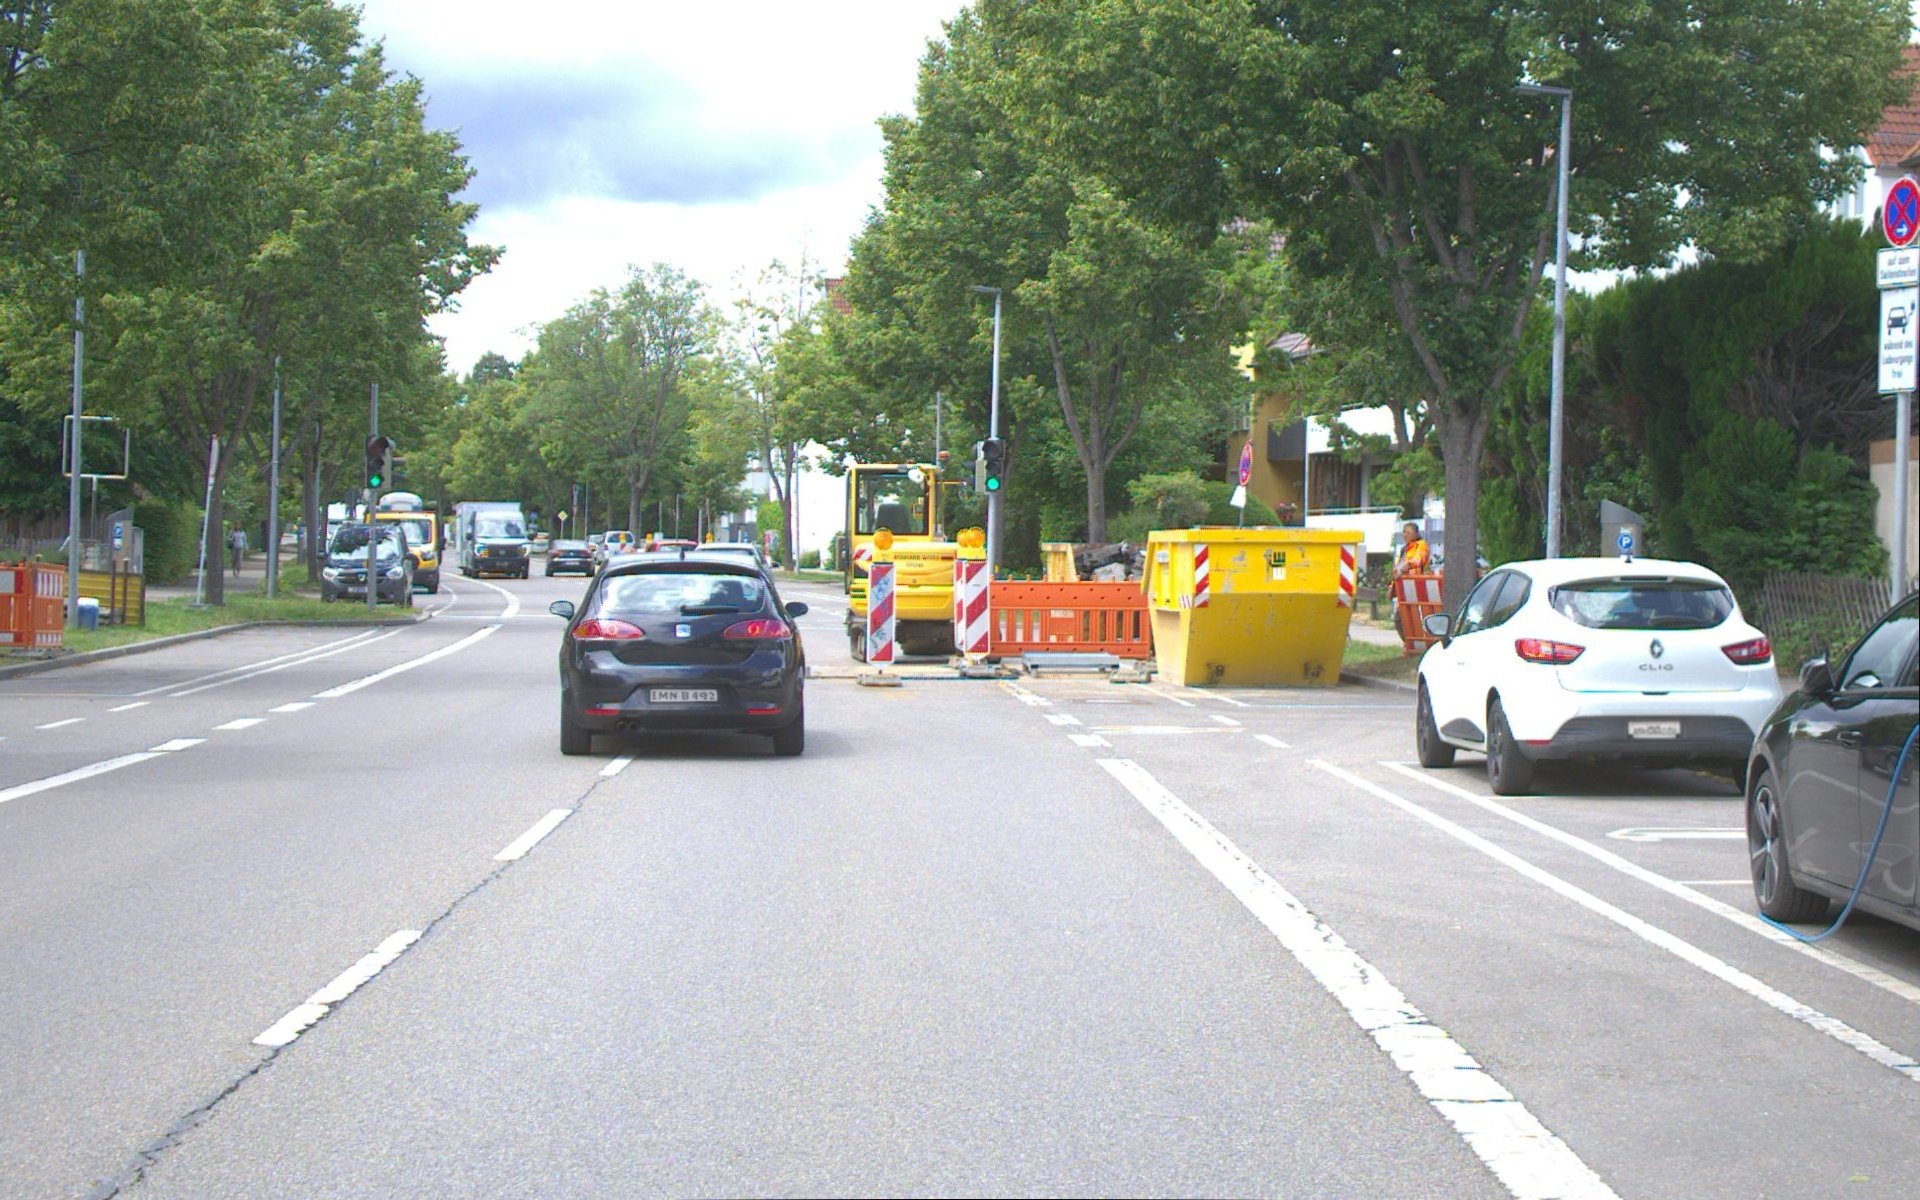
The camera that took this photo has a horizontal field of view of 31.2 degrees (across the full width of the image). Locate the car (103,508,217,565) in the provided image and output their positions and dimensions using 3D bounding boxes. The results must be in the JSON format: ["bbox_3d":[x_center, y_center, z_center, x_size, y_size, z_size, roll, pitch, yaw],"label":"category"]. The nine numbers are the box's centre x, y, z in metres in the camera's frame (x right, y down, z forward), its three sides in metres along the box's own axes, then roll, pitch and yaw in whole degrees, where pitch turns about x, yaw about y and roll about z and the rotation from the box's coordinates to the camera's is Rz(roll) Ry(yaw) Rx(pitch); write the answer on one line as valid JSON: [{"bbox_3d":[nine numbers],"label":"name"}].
[{"bbox_3d":[-27.645,-2.198,118.851,3.681,1.920,1.679,1,1,-7],"label":"car"}]

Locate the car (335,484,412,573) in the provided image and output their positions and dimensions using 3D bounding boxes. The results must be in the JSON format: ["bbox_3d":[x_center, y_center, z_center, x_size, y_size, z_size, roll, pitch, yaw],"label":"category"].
[{"bbox_3d":[-17.660,-2.158,103.684,2.092,2.617,5.046,1,1,-8],"label":"car"}]

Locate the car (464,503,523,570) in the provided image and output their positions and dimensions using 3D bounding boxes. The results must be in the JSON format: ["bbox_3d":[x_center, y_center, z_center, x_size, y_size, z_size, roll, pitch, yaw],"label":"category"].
[{"bbox_3d":[-16.879,-2.302,124.600,2.028,2.376,5.263,0,1,-7],"label":"car"}]

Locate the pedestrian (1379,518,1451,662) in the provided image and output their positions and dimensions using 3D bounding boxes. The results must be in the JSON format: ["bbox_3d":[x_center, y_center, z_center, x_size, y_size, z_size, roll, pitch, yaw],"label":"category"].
[{"bbox_3d":[5.206,-0.121,39.381,0.704,1.628,0.643,1,1,-2],"label":"pedestrian"}]

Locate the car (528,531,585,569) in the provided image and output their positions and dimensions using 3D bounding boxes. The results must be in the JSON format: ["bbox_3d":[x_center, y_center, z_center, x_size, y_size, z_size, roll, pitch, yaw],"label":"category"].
[{"bbox_3d":[-15.271,-1.896,130.035,1.809,1.370,3.694,1,1,-11],"label":"car"}]

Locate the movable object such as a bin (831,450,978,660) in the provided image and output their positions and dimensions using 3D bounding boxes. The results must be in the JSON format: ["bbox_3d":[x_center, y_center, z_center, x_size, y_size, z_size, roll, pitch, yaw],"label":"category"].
[{"bbox_3d":[-0.736,-0.590,44.328,1.768,2.565,3.740,1,1,-2],"label":"movable object such as a bin"}]

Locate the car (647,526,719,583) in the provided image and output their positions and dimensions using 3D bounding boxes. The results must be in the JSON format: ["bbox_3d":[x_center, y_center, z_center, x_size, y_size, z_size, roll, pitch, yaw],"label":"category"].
[{"bbox_3d":[-8.061,-1.331,99.649,1.790,1.617,3.741,0,1,-9],"label":"car"}]

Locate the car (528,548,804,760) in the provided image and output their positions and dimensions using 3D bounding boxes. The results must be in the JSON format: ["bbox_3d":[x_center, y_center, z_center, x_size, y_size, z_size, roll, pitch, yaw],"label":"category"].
[{"bbox_3d":[-2.100,0.342,25.419,1.819,1.433,3.740,0,1,-2],"label":"car"}]

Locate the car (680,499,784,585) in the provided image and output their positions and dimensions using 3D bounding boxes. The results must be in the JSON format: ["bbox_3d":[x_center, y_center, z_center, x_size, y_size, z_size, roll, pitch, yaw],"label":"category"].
[{"bbox_3d":[-4.557,-1.172,69.155,1.905,1.680,3.740,0,1,-1],"label":"car"}]

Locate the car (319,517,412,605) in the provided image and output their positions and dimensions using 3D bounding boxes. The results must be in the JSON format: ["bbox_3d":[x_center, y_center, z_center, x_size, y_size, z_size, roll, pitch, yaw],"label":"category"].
[{"bbox_3d":[-12.321,-0.830,71.464,1.667,1.766,4.469,0,1,-7],"label":"car"}]

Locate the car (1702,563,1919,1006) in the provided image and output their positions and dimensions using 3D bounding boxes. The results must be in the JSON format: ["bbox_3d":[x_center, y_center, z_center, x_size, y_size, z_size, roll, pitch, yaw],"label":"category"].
[{"bbox_3d":[4.040,0.612,12.367,1.705,1.449,4.617,0,1,0],"label":"car"}]

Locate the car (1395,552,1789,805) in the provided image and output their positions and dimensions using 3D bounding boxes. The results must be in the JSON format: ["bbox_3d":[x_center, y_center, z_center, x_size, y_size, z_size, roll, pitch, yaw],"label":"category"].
[{"bbox_3d":[3.980,0.435,22.264,1.672,1.457,4.001,1,1,-2],"label":"car"}]

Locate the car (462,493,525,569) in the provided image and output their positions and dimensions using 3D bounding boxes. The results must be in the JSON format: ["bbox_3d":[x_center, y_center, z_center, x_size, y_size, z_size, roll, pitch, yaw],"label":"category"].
[{"bbox_3d":[-17.706,-2.631,130.725,2.287,2.782,7.145,0,1,-7],"label":"car"}]

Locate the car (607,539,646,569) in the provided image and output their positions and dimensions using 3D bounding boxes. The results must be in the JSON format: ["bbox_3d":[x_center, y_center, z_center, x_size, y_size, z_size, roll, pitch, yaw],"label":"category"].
[{"bbox_3d":[-16.227,-2.264,167.321,1.809,1.410,3.694,1,1,-5],"label":"car"}]

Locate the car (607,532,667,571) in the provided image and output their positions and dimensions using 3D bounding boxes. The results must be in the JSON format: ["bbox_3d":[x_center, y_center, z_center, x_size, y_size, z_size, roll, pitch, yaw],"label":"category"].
[{"bbox_3d":[-11.834,-1.783,125.846,1.809,1.410,3.694,1,1,-11],"label":"car"}]

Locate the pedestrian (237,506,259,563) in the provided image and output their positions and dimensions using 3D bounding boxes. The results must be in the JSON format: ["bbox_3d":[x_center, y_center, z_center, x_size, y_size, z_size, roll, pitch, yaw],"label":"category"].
[{"bbox_3d":[-21.922,-2.022,105.847,0.595,1.735,0.574,1,1,-8],"label":"pedestrian"}]

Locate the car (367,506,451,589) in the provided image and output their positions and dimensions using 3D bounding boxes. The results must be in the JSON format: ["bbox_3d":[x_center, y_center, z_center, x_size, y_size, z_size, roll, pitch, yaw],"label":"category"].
[{"bbox_3d":[-14.926,-1.443,93.327,2.092,2.167,5.046,1,1,-8],"label":"car"}]
